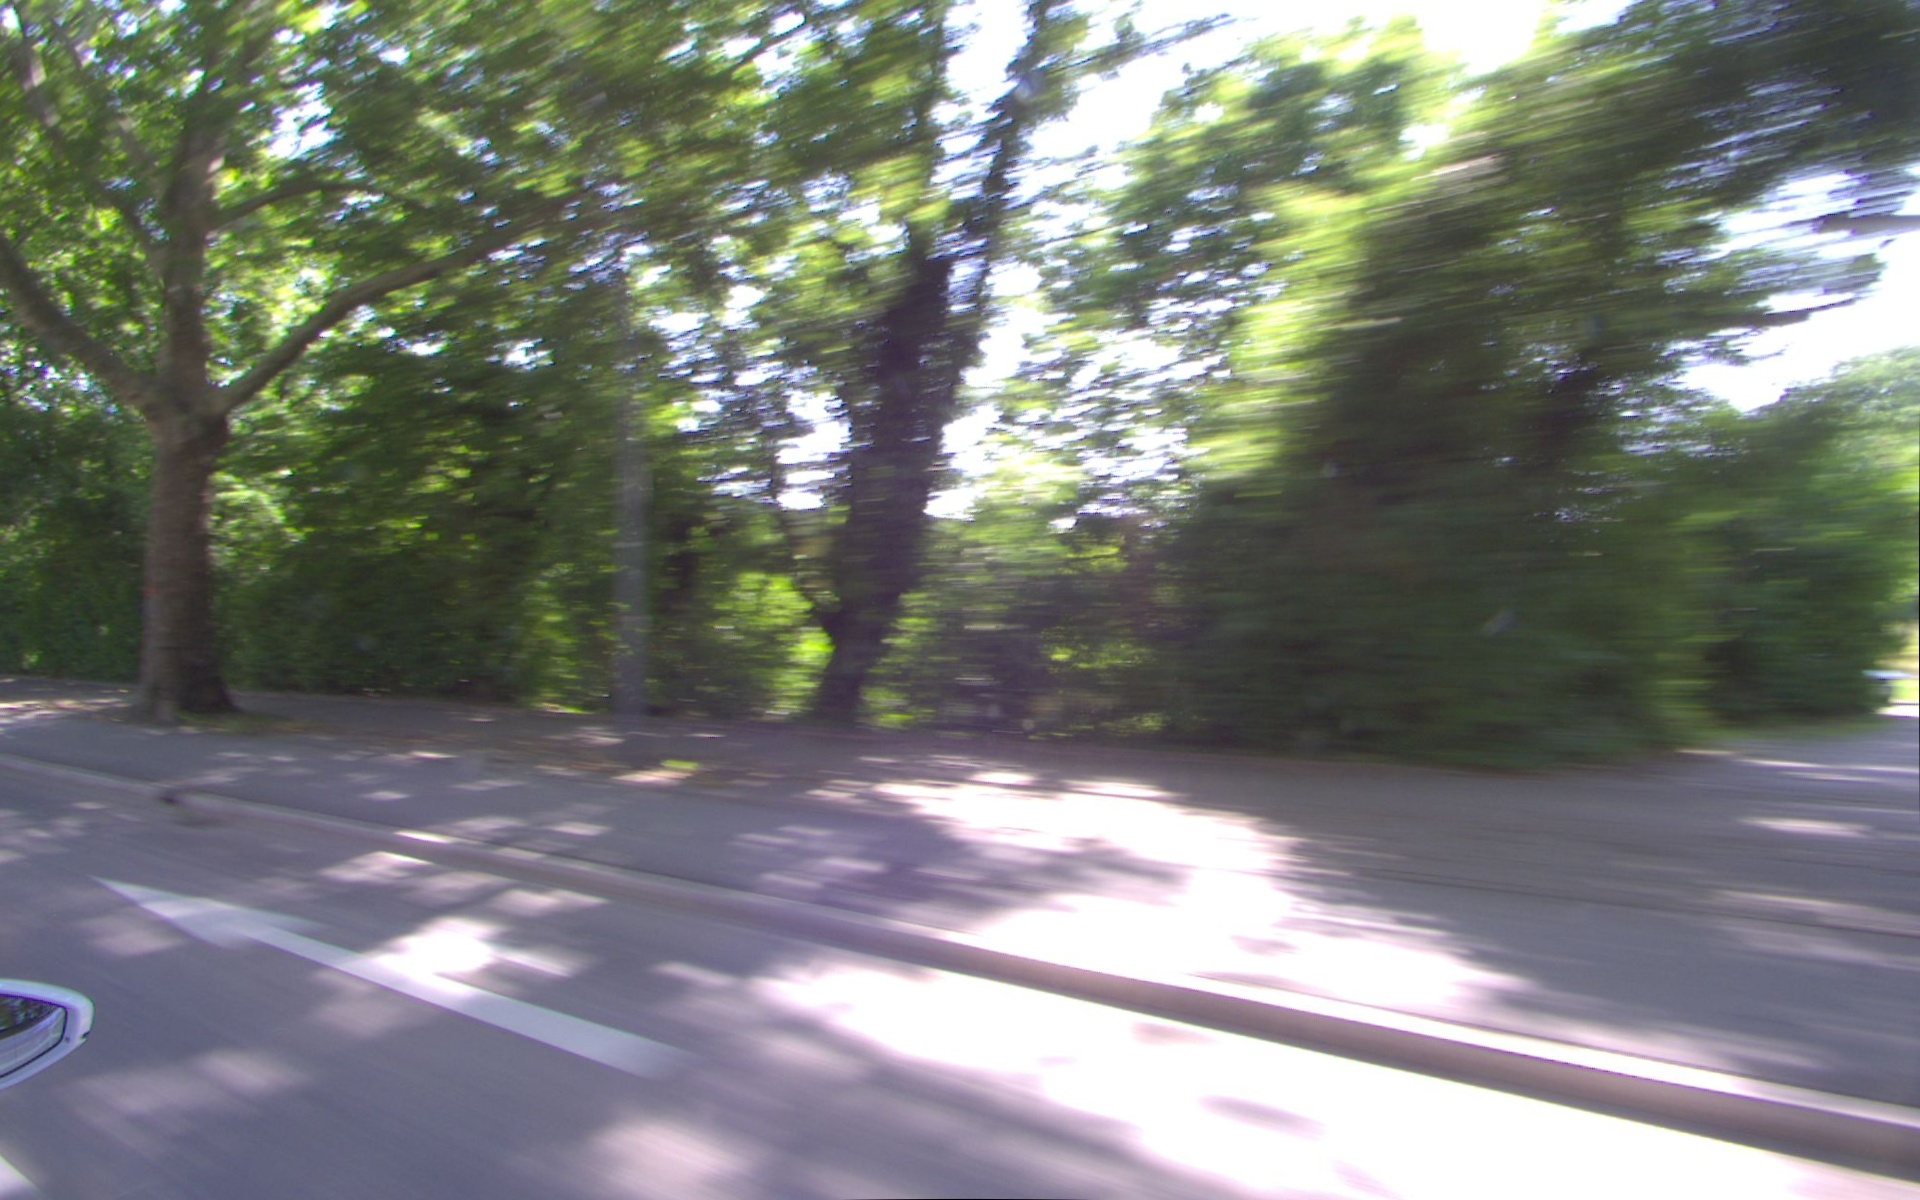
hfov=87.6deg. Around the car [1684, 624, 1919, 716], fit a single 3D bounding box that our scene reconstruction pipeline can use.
[{"bbox_3d":[15.371,1.195,18.046,1.651,1.472,4.002,0,-2,-2],"label":"car"}]
